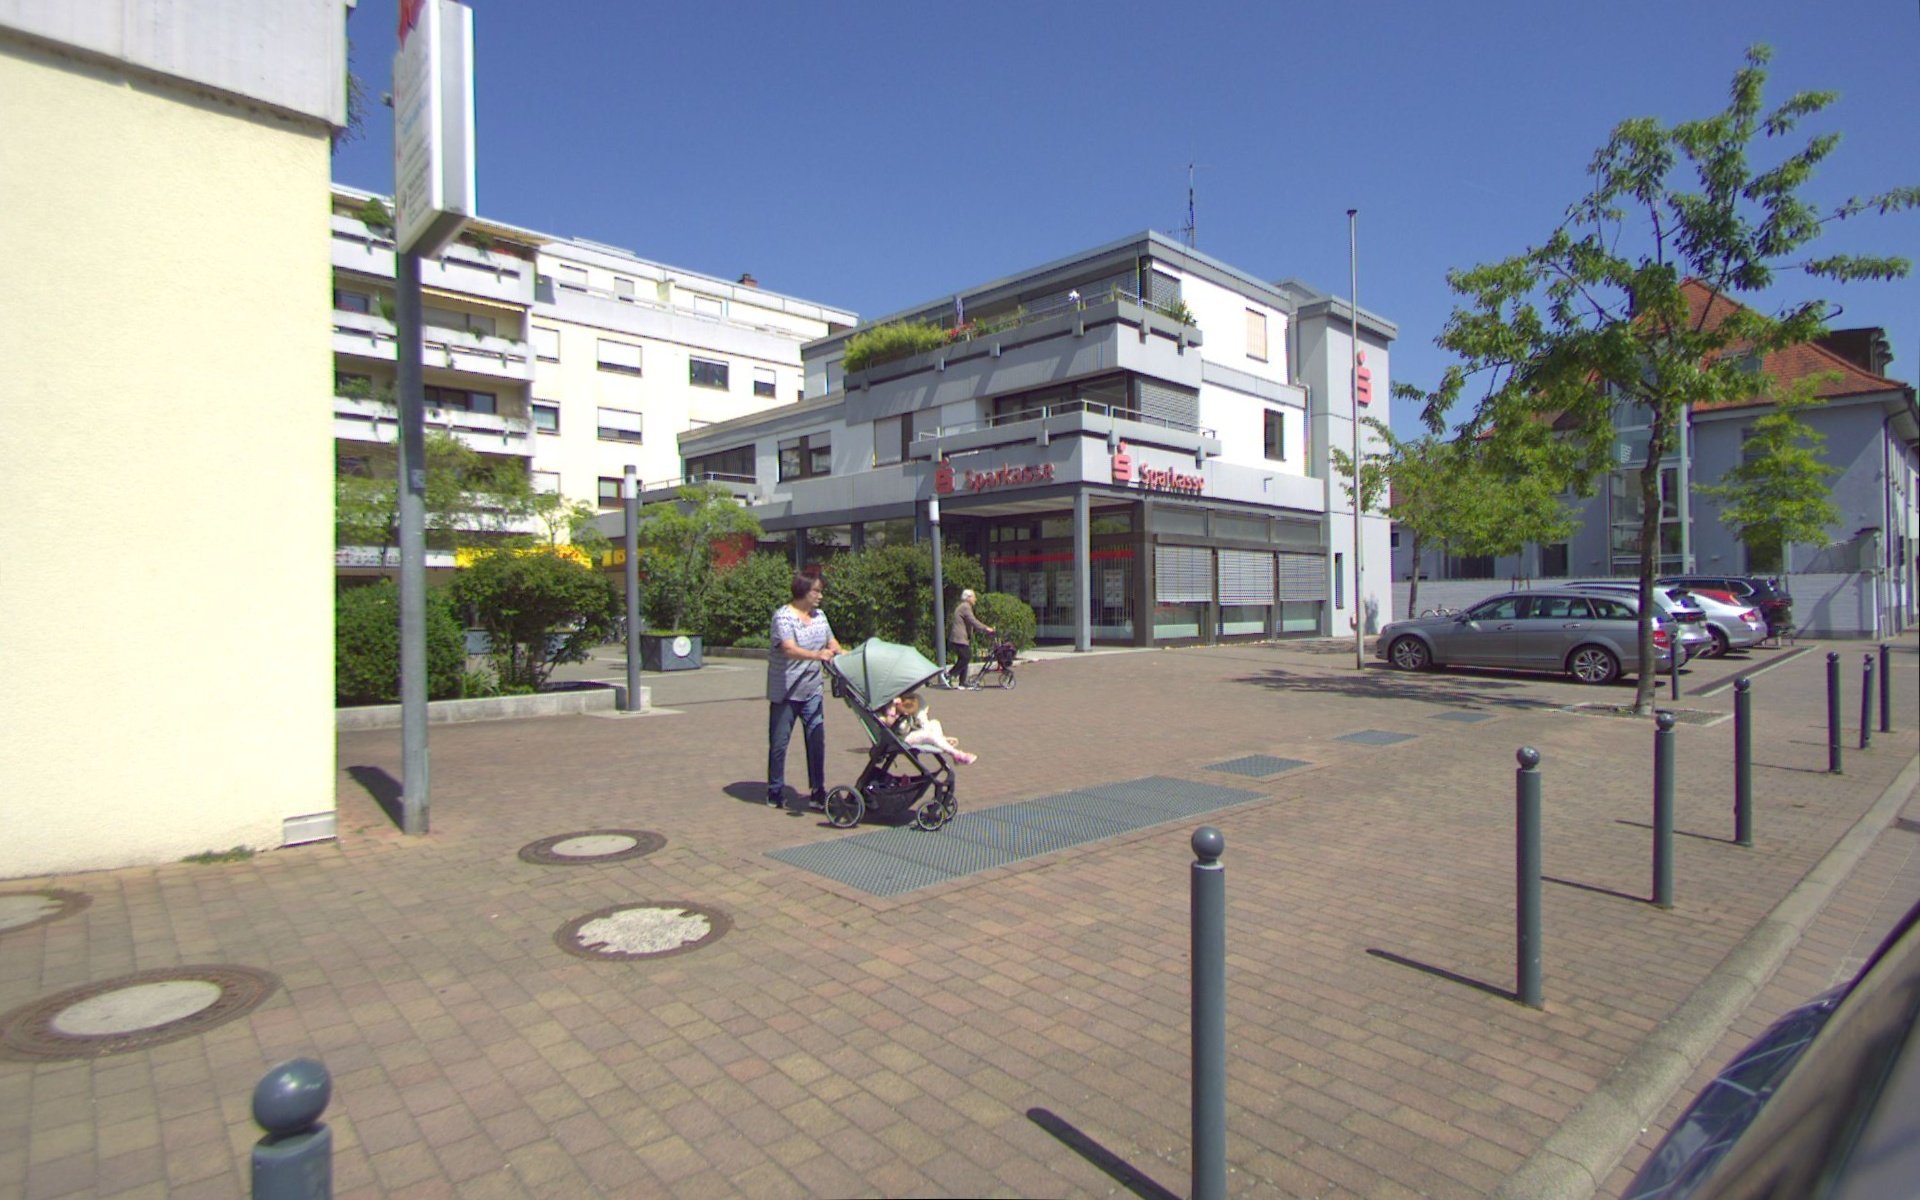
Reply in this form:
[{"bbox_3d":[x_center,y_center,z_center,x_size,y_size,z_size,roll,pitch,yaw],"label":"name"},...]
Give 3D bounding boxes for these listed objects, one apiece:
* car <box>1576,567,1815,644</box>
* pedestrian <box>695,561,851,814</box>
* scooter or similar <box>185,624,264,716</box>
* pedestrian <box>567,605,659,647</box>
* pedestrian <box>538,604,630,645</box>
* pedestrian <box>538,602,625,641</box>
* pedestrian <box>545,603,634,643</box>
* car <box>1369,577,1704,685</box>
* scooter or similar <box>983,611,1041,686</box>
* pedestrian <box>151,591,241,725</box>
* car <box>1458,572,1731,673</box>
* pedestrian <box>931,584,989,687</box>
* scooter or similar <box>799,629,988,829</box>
[{"bbox_3d":[18.722,0.075,25.914,2.112,1.793,4.635,0,1,-43],"label":"car"},{"bbox_3d":[-1.200,0.535,6.599,0.788,1.540,0.704,-1,0,11],"label":"pedestrian"},{"bbox_3d":[-9.263,0.866,12.772,0.578,1.088,0.807,-1,0,-17],"label":"scooter or similar"},{"bbox_3d":[-11.326,0.818,33.110,0.982,1.290,2.736,-1,0,40],"label":"pedestrian"},{"bbox_3d":[-12.445,0.784,33.580,0.982,1.290,2.736,-1,0,40],"label":"pedestrian"},{"bbox_3d":[-13.212,0.721,35.432,0.982,1.290,2.736,-1,0,40],"label":"pedestrian"},{"bbox_3d":[-12.695,0.752,34.758,0.982,1.290,2.736,-1,0,40],"label":"pedestrian"},{"bbox_3d":[9.520,0.398,16.968,4.575,1.531,1.887,2,2,43],"label":"car"},{"bbox_3d":[0.780,0.728,15.394,0.789,1.088,0.592,-1,0,-6],"label":"scooter or similar"},{"bbox_3d":[-9.039,0.657,12.004,0.606,1.516,0.813,-1,0,-17],"label":"pedestrian"},{"bbox_3d":[11.684,0.319,18.811,3.989,1.592,1.828,3,3,45],"label":"car"},{"bbox_3d":[-0.005,0.525,15.349,0.795,1.516,0.669,-1,-1,-5],"label":"pedestrian"},{"bbox_3d":[-0.386,0.752,6.198,1.027,1.120,0.626,-1,0,11],"label":"scooter or similar"}]
